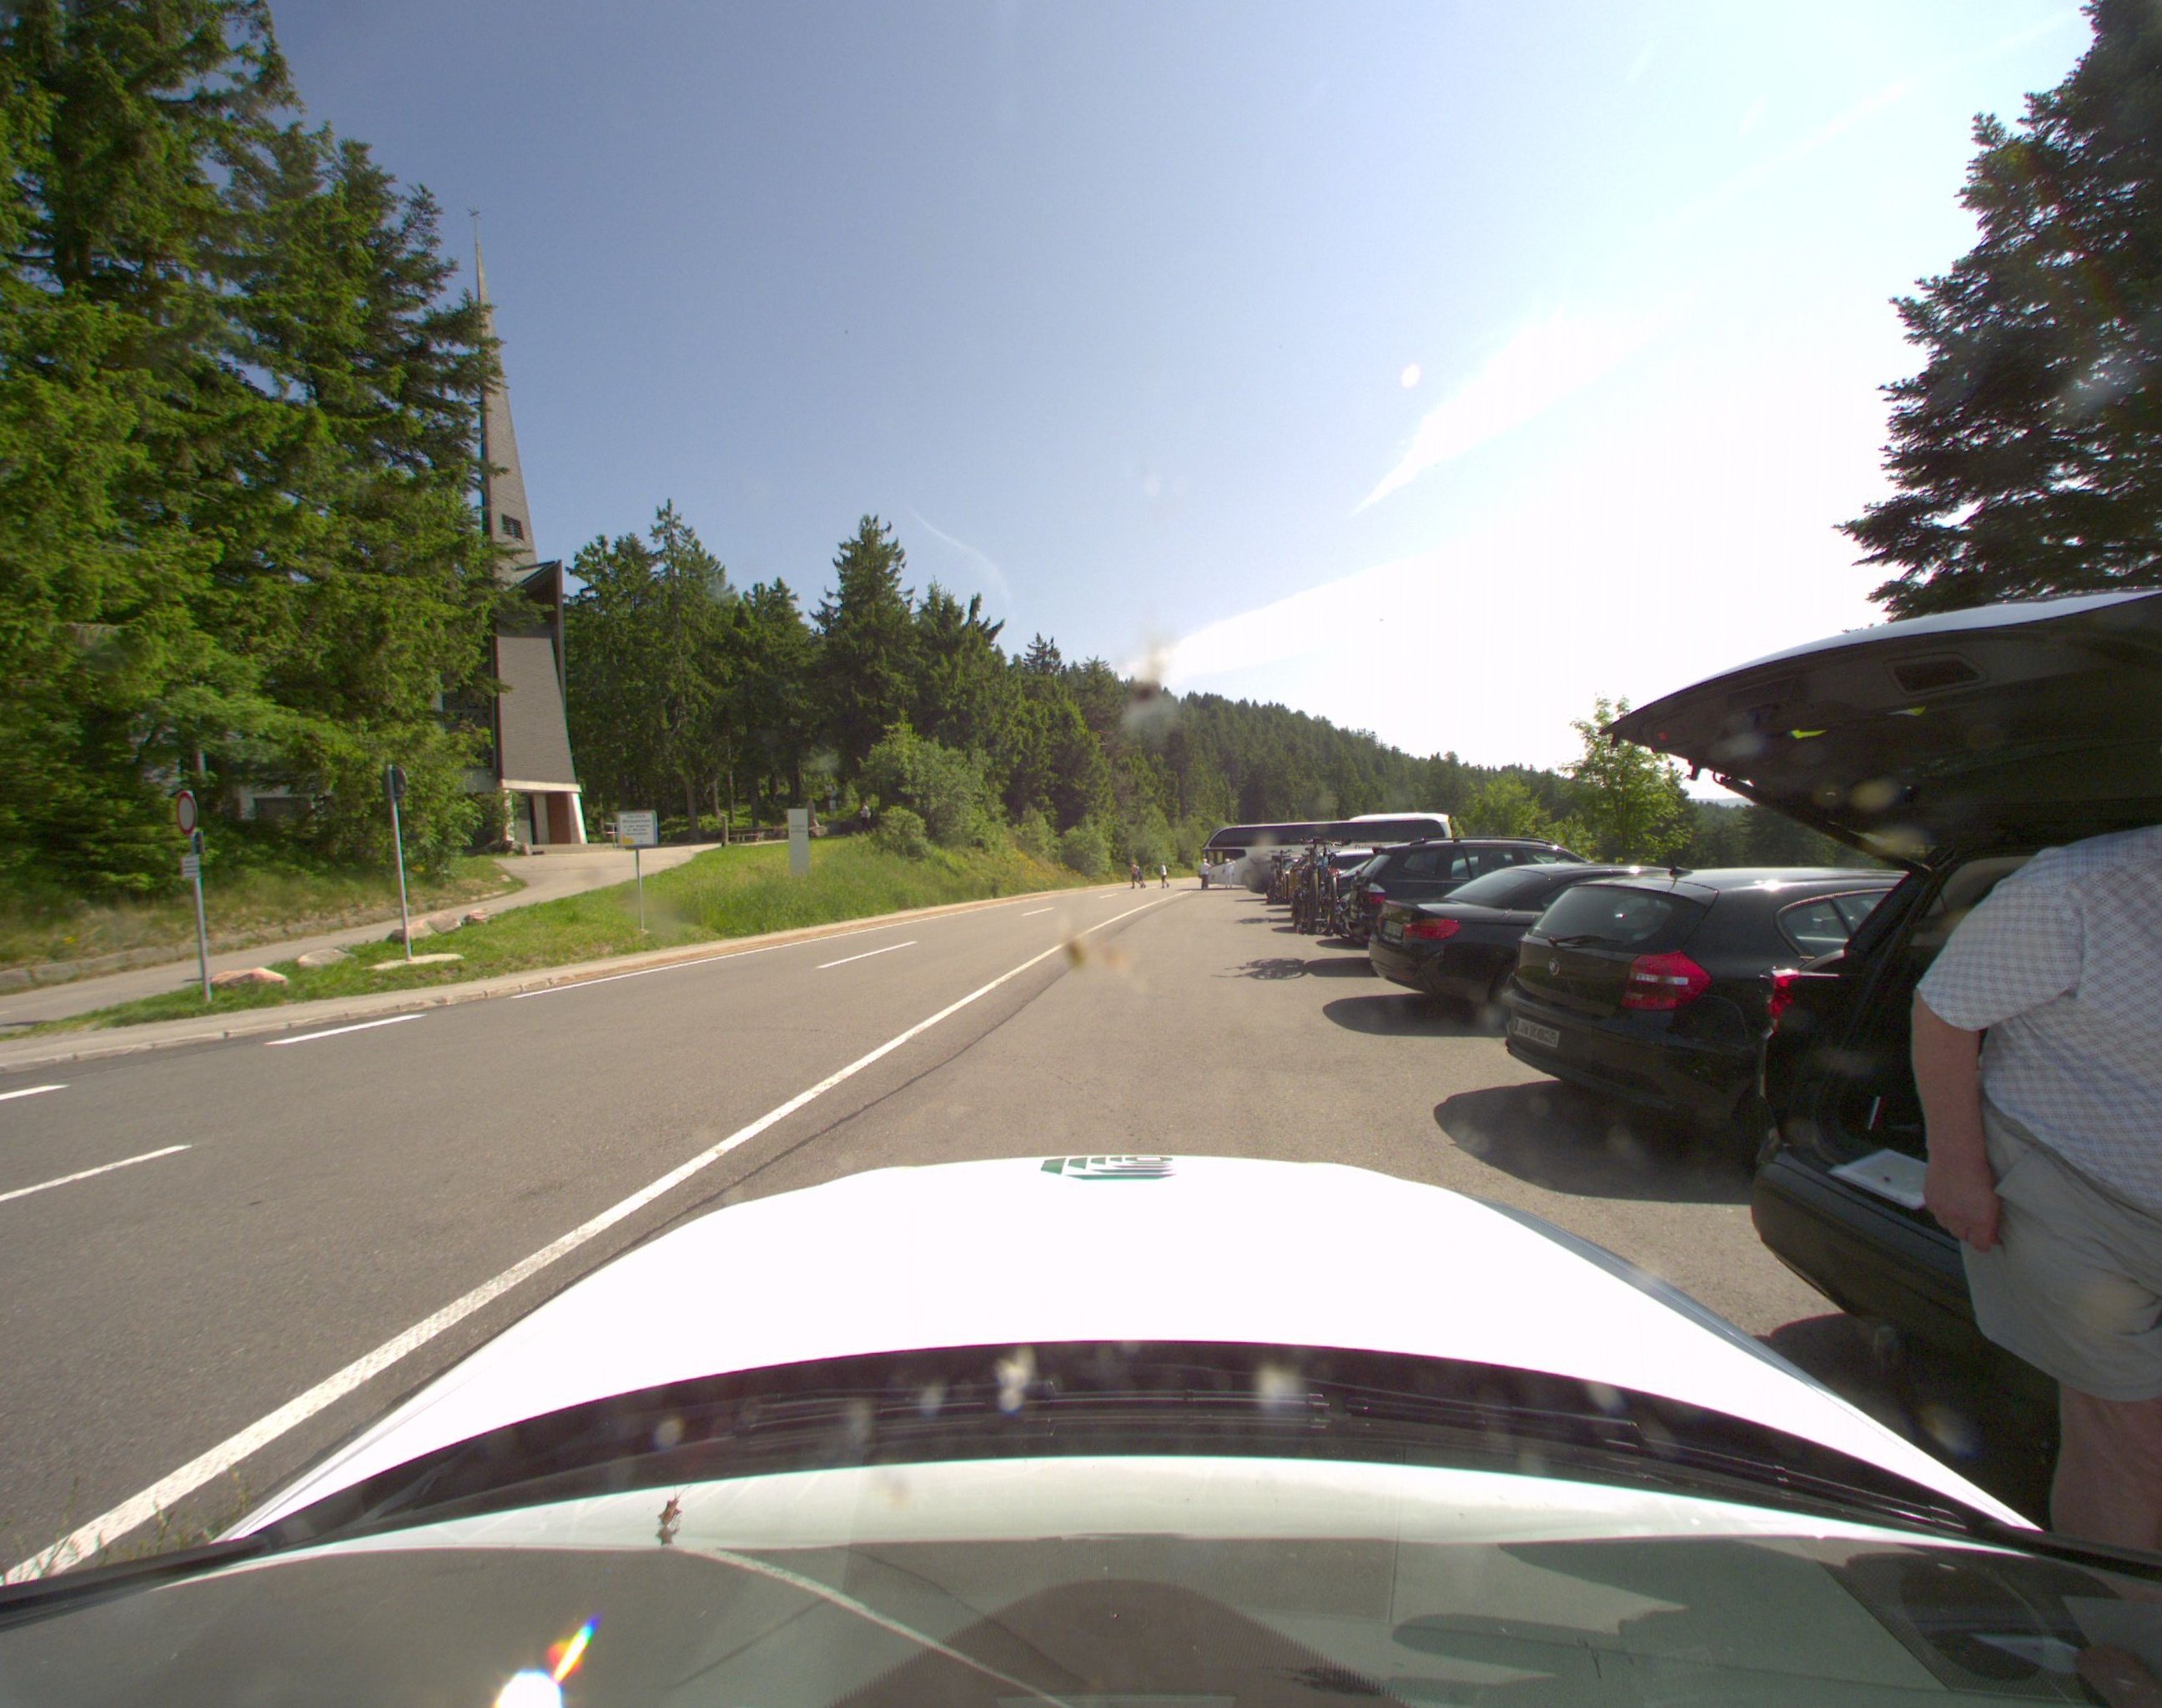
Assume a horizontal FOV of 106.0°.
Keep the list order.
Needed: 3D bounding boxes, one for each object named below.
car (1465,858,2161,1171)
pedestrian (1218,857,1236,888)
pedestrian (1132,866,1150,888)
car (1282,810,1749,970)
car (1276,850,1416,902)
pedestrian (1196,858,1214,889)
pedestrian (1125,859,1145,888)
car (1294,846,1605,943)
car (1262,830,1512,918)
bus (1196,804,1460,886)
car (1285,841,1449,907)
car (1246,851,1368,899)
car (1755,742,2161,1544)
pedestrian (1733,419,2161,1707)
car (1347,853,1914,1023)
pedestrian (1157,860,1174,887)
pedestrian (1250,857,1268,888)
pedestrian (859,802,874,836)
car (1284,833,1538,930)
[{"bbox_3d":[4.551,0.719,4.510,4.068,1.376,1.702,0,-1,0],"label":"car"},{"bbox_3d":[7.745,0.991,43.073,0.764,1.585,0.776,-3,-1,16],"label":"pedestrian"},{"bbox_3d":[3.645,1.387,49.658,0.737,1.279,0.777,-3,-1,-24],"label":"pedestrian"},{"bbox_3d":[5.199,0.464,10.518,4.917,1.695,1.951,-3,-1,11],"label":"car"},{"bbox_3d":[8.295,0.681,25.796,3.963,1.398,1.624,-3,-1,9],"label":"car"},{"bbox_3d":[6.580,1.017,43.354,0.764,1.585,0.776,-3,-1,16],"label":"pedestrian"},{"bbox_3d":[3.323,1.207,50.457,0.857,1.683,0.863,-3,-1,-22],"label":"pedestrian"},{"bbox_3d":[5.737,0.636,13.199,4.218,1.269,1.843,-3,-1,9],"label":"car"},{"bbox_3d":[6.791,0.456,18.661,5.004,1.651,2.053,-3,-1,9],"label":"car"},{"bbox_3d":[13.011,-0.379,43.778,12.985,3.532,3.058,-3,-1,19],"label":"bus"},{"bbox_3d":[7.717,0.543,22.311,3.963,1.554,1.664,-3,-1,9],"label":"car"},{"bbox_3d":[7.994,0.737,29.088,3.963,1.449,1.866,-3,-1,9],"label":"car"},{"bbox_3d":[4.370,0.616,1.692,4.325,1.626,1.872,1,-1,4],"label":"car"},{"bbox_3d":[1.657,0.399,1.233,0.755,1.870,0.735,-1,2,-10],"label":"pedestrian"},{"bbox_3d":[4.756,0.700,7.535,4.064,1.376,1.704,0,-1,3],"label":"car"},{"bbox_3d":[5.060,1.146,48.762,0.851,1.585,0.818,-3,-1,0],"label":"pedestrian"},{"bbox_3d":[9.422,0.962,43.077,0.764,1.585,0.776,-3,-1,17],"label":"pedestrian"},{"bbox_3d":[-12.140,-1.979,46.025,0.681,1.878,0.540,-3,-1,-11],"label":"pedestrian"},{"bbox_3d":[6.206,0.524,15.802,4.218,1.554,1.843,-3,-1,9],"label":"car"}]
